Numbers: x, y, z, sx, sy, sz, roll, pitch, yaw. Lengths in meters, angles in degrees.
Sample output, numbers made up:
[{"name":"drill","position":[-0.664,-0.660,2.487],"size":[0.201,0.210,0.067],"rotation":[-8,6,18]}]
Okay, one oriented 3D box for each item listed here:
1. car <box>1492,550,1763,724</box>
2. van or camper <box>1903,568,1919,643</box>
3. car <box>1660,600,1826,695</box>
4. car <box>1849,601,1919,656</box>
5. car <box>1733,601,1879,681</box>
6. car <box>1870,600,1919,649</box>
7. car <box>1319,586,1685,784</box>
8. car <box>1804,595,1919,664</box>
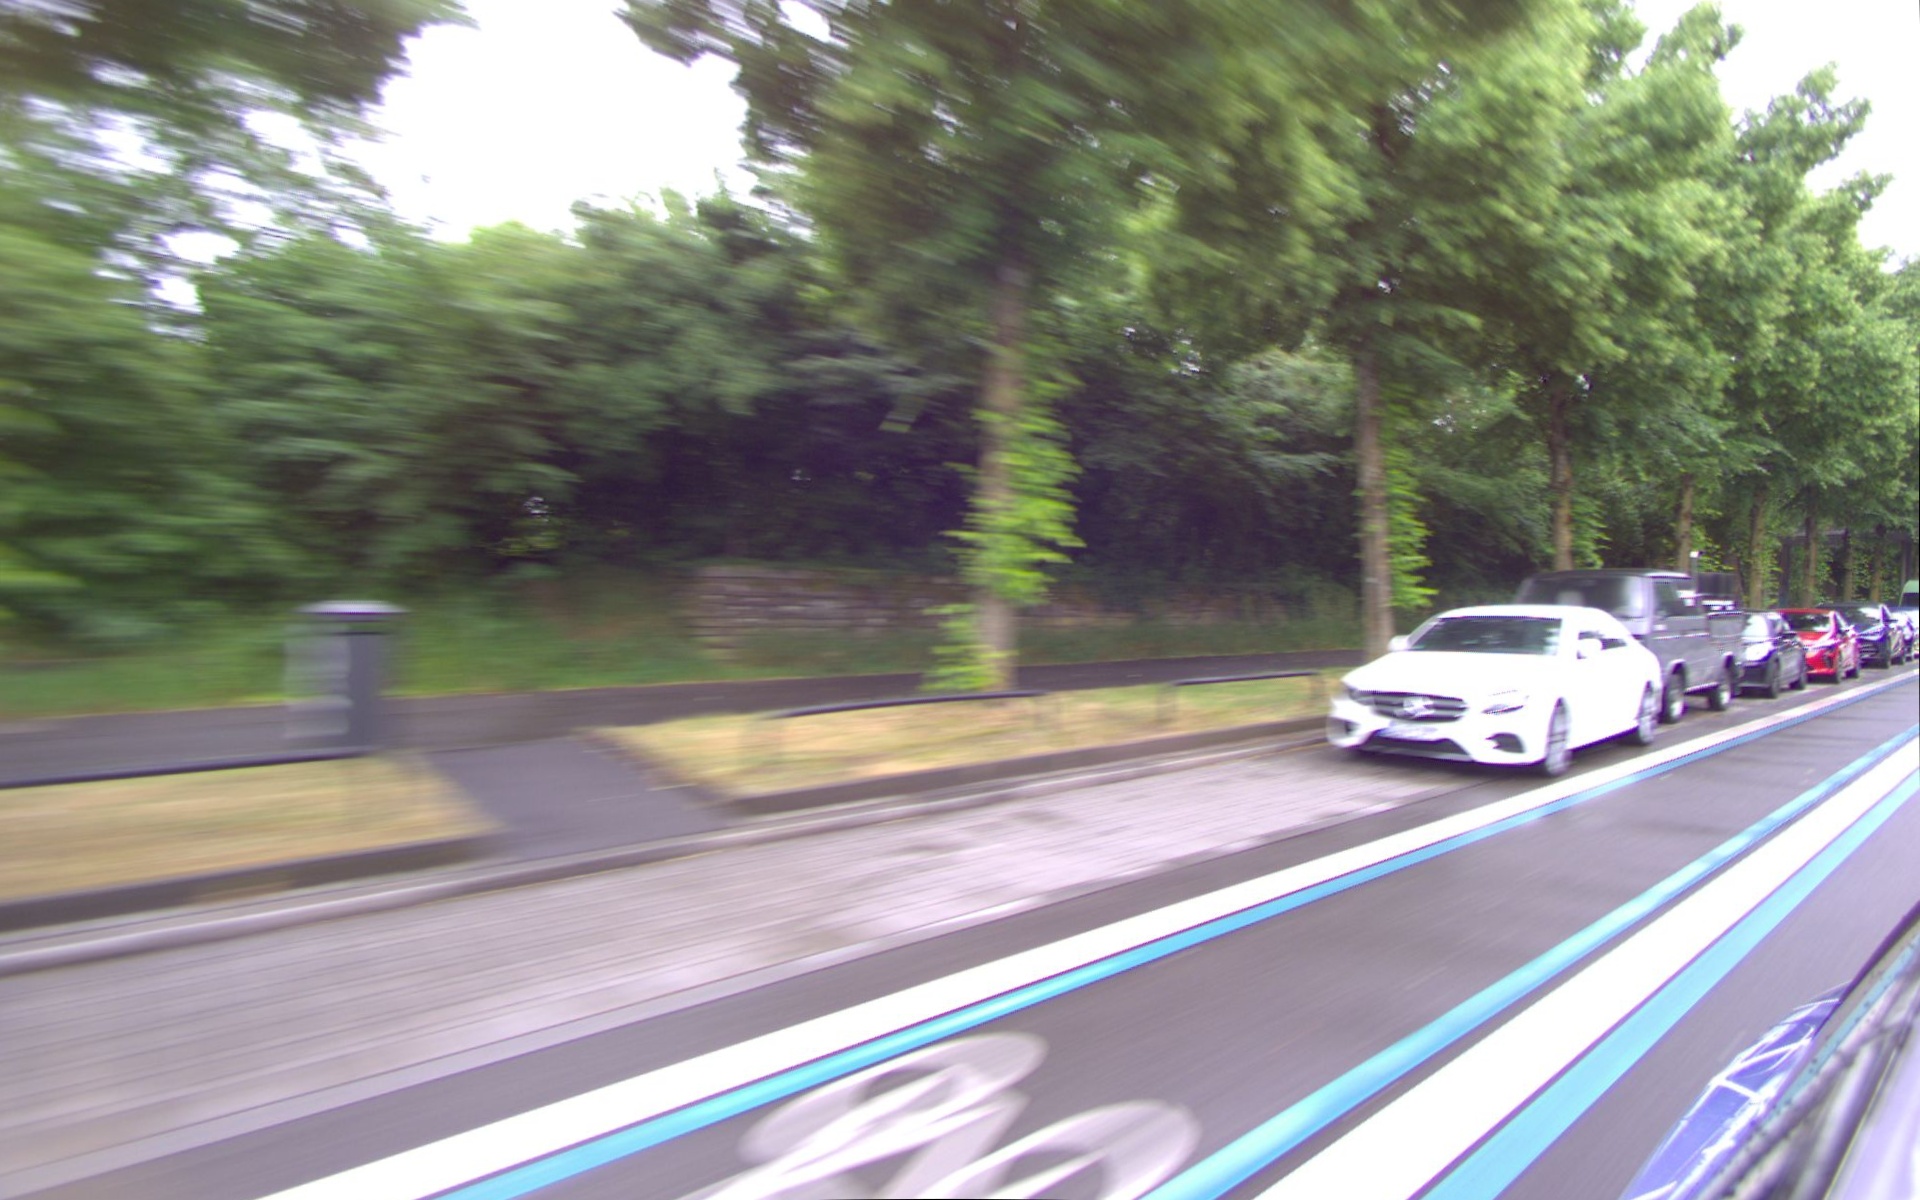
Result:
[{"name":"car","position":[9.390,0.403,14.091],"size":[4.581,2.047,1.930],"rotation":[0,1,-41]},{"name":"van or camper","position":[38.200,0.212,39.024],"size":[6.780,2.764,2.045],"rotation":[1,-1,-42]},{"name":"car","position":[13.522,0.747,17.408],"size":[3.682,1.471,1.608],"rotation":[0,-1,-42]},{"name":"car","position":[26.953,0.792,29.116],"size":[4.076,1.474,1.687],"rotation":[1,-1,-44]},{"name":"car","position":[17.283,0.763,20.602],"size":[4.093,1.471,1.688],"rotation":[0,-1,-42]},{"name":"car","position":[31.054,0.775,32.902],"size":[3.767,1.533,1.689],"rotation":[0,-1,-41]},{"name":"car","position":[5.663,0.672,10.259],"size":[4.806,1.562,1.791],"rotation":[0,-1,-43]},{"name":"car","position":[22.953,0.703,25.597],"size":[4.419,1.610,1.759],"rotation":[0,-1,-41]}]
